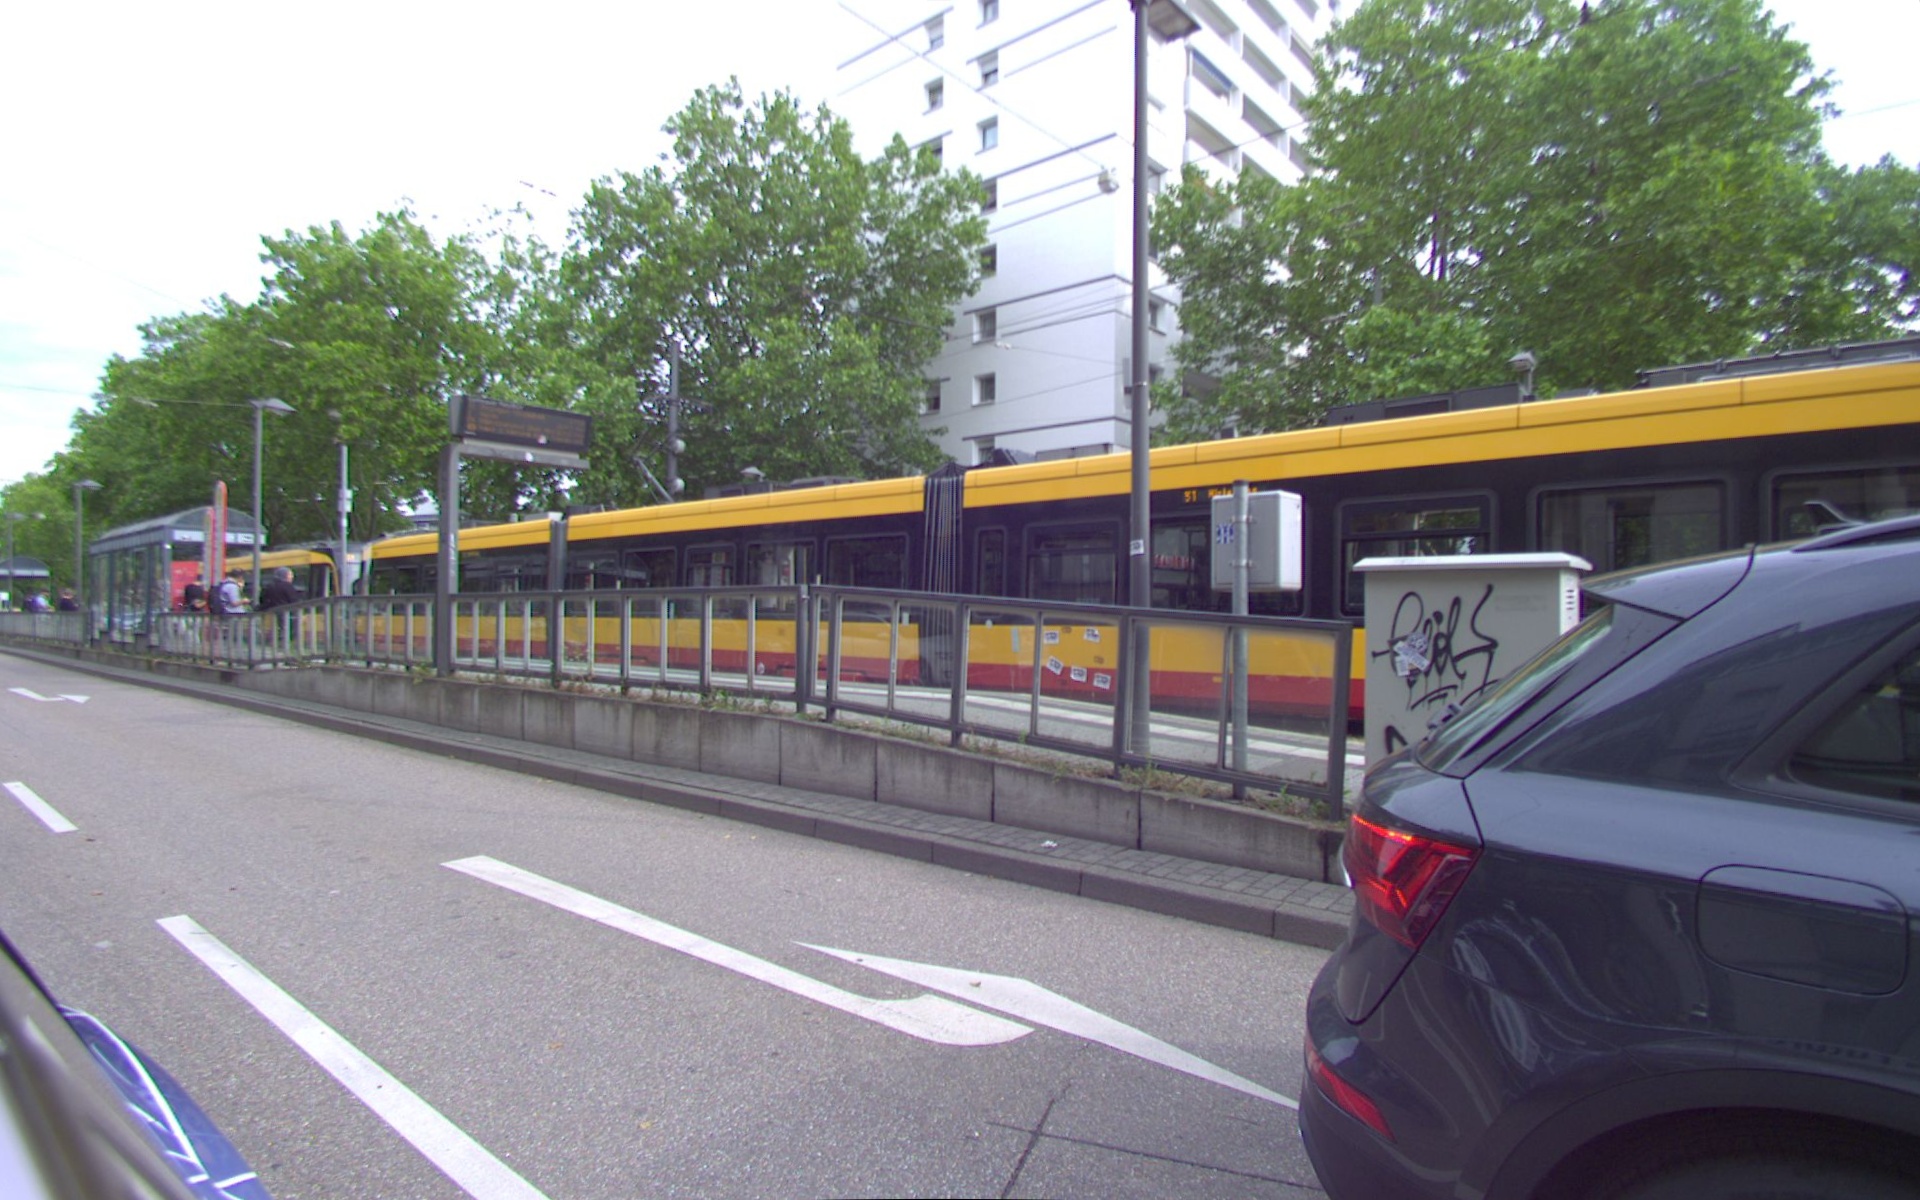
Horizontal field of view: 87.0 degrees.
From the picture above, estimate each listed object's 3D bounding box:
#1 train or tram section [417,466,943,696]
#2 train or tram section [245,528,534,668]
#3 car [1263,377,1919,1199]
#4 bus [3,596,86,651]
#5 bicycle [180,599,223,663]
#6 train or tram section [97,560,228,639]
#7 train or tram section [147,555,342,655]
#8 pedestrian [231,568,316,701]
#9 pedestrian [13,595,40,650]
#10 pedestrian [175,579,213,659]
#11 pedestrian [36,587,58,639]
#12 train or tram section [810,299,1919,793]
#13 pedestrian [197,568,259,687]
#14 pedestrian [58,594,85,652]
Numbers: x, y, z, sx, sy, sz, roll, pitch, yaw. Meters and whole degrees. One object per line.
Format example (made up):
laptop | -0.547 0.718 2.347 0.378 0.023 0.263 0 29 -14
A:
train or tram section | -7.053 -0.263 21.807 15.287 3.558 3.028 0 0 41
train or tram section | -18.542 -0.009 31.918 15.287 3.558 3.028 0 0 41
car | 2.765 0.537 1.009 4.354 1.613 1.861 -1 0 40
bus | -35.947 0.872 39.706 3.998 2.029 1.973 0 0 41
bicycle | -15.214 0.609 20.300 1.289 1.231 0.414 -1 0 41
train or tram section | -40.812 0.004 51.530 12.534 3.588 3.060 0 0 41
train or tram section | -30.203 0.216 42.155 15.764 3.558 3.028 0 0 41
pedestrian | -10.747 0.521 15.860 0.808 2.029 0.754 -1 0 4
pedestrian | -35.252 0.837 38.210 0.587 2.029 0.668 -1 0 38
pedestrian | -15.978 0.387 21.111 0.471 1.645 0.526 -1 0 39
pedestrian | -29.016 0.417 32.174 0.392 1.645 0.474 -1 0 42
train or tram section | 4.635 -0.383 11.540 15.841 3.615 3.028 0 0 41
pedestrian | -12.882 0.467 17.831 0.742 2.029 0.821 -1 0 -26
pedestrian | -25.371 0.651 28.896 0.730 1.645 0.506 -1 0 42
